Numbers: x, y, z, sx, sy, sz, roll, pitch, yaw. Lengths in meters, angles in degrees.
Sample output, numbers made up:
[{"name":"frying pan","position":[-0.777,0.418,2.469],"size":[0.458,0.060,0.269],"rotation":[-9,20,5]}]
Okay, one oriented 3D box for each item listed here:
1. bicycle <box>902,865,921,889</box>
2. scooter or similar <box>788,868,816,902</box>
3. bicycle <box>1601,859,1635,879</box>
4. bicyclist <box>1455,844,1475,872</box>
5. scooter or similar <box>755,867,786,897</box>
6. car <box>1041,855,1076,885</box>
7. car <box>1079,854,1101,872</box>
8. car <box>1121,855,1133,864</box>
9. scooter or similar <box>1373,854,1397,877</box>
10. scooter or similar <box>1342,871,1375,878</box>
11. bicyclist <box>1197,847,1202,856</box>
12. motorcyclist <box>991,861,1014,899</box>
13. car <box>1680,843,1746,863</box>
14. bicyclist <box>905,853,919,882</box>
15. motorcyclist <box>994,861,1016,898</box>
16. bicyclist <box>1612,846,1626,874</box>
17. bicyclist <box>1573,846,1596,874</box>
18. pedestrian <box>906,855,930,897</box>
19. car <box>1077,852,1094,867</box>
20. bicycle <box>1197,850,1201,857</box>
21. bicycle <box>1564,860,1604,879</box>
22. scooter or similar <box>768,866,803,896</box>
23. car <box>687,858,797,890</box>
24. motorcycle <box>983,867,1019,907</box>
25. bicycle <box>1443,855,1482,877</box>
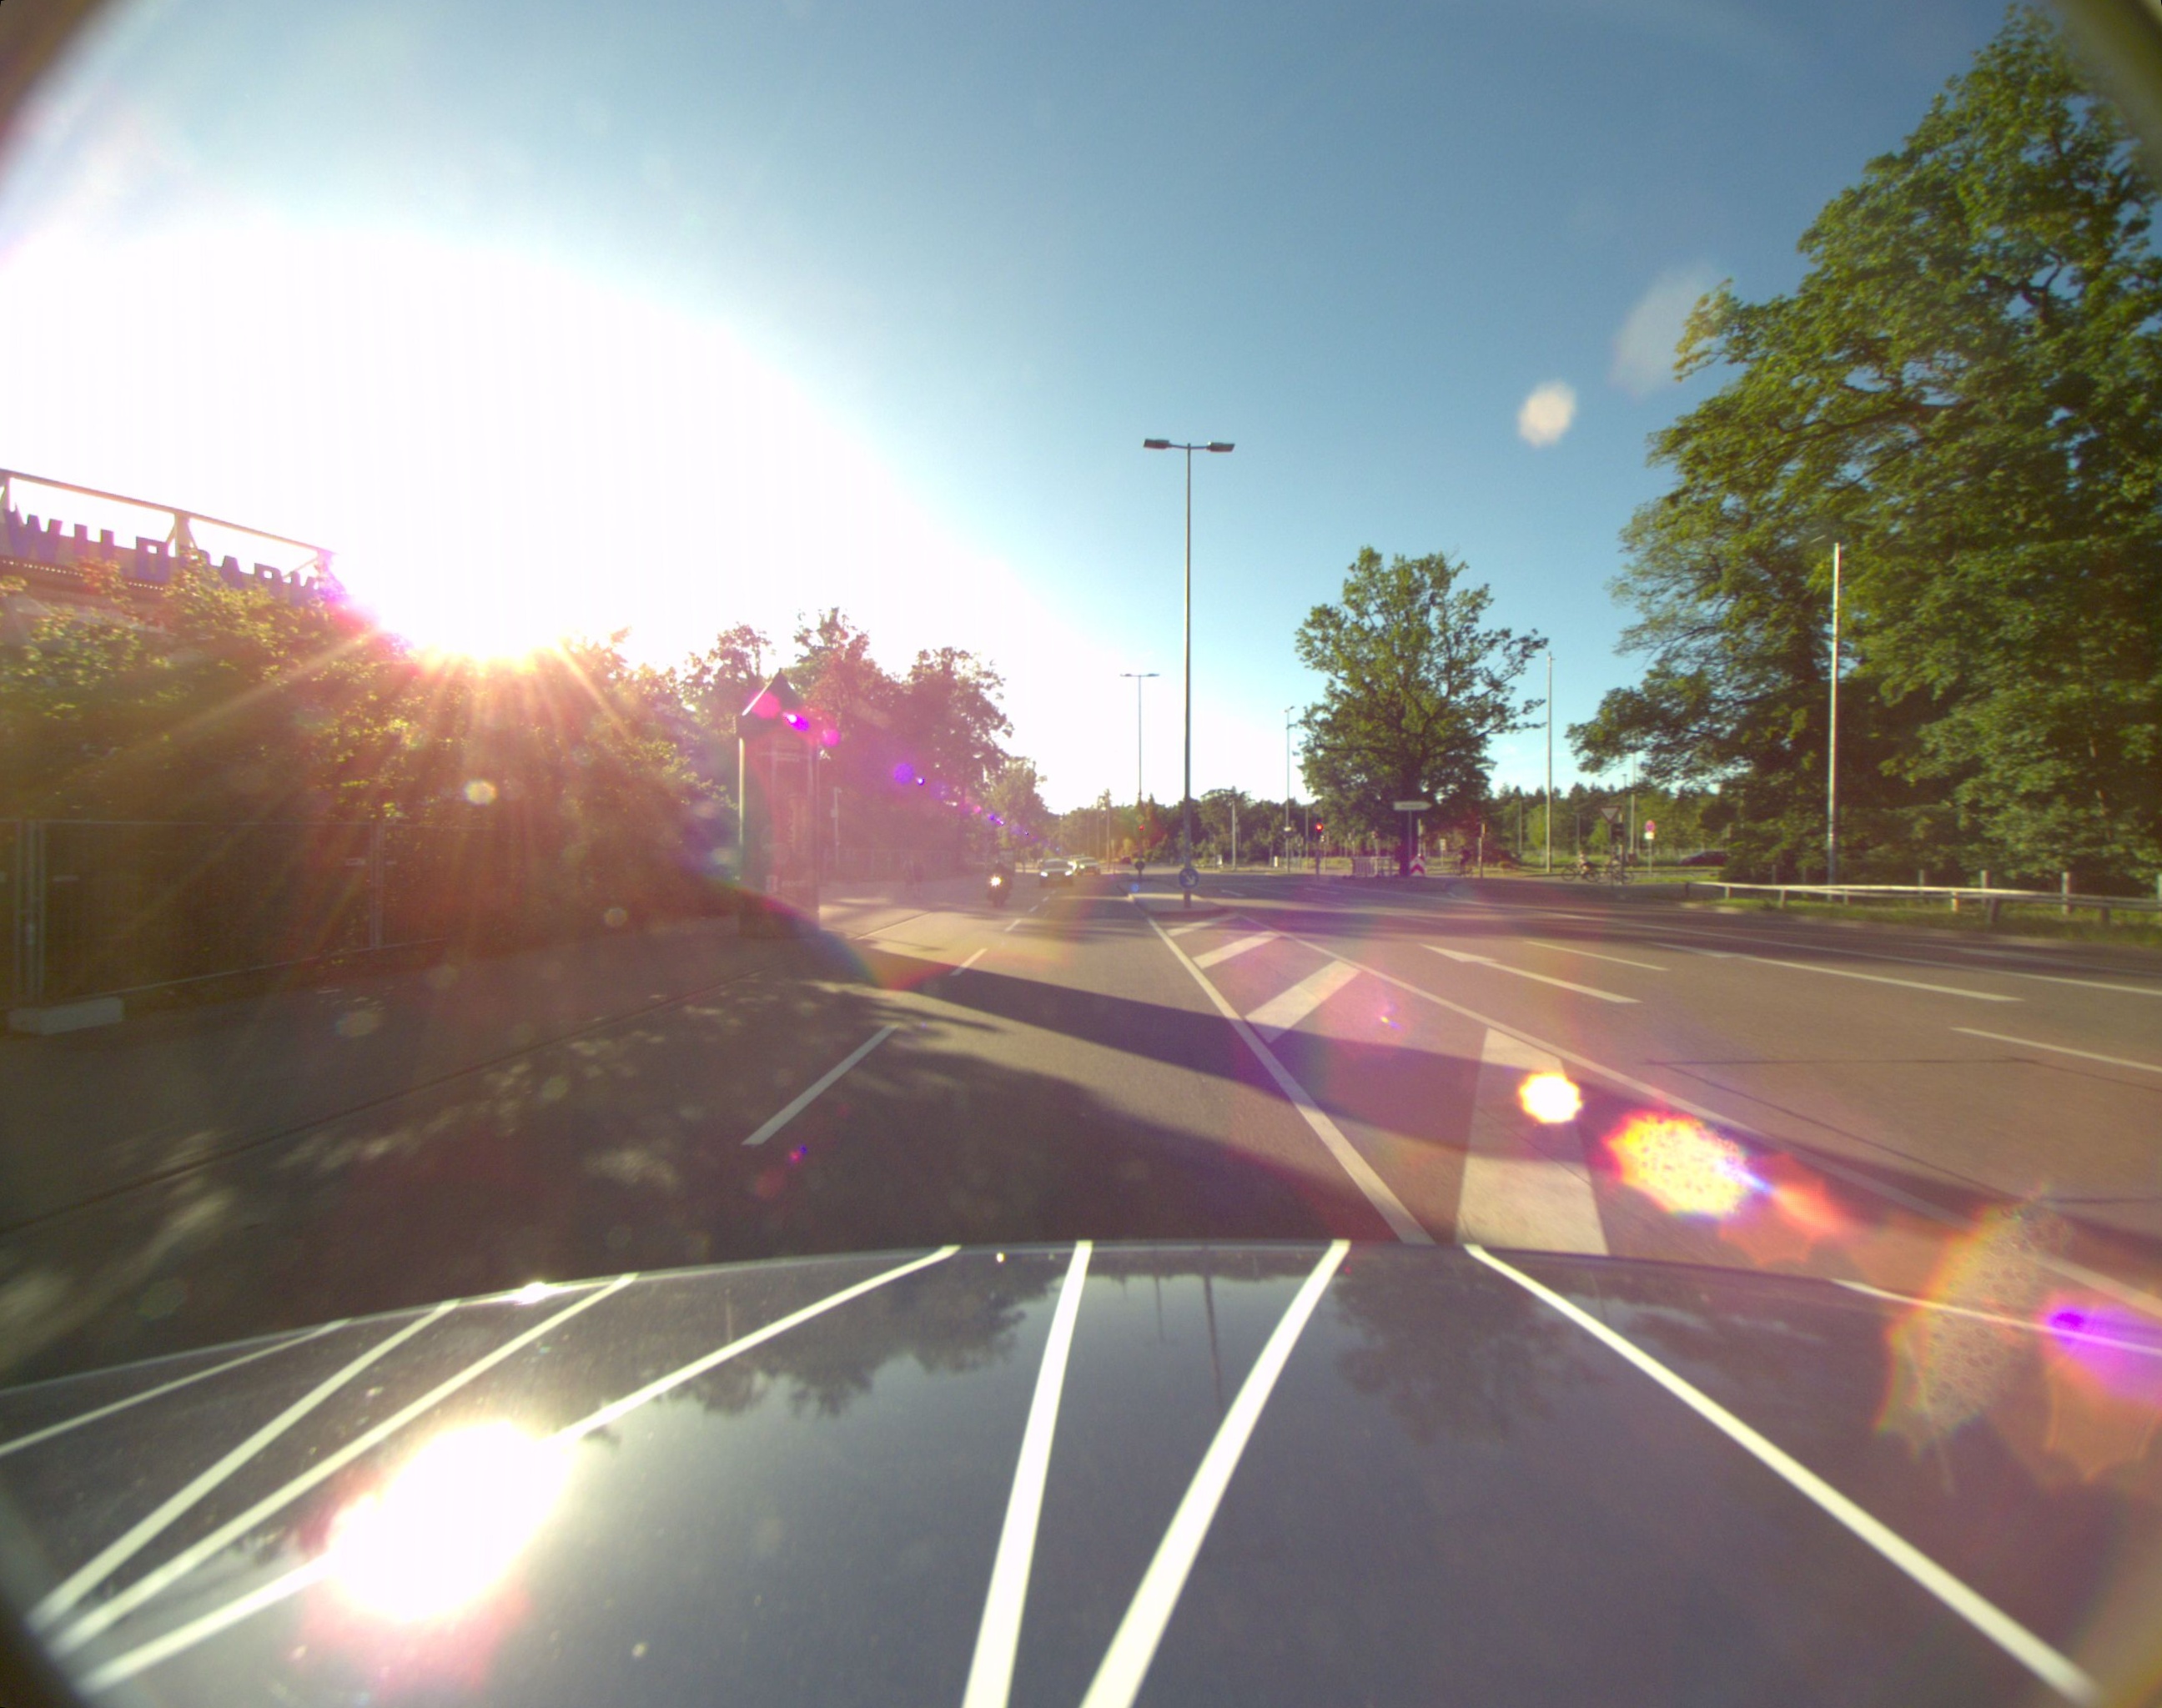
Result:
[{"name":"bicycle","position":[-8.476,1.138,38.091],"size":[0.555,1.130,1.864],"rotation":[0,0,-1]},{"name":"scooter or similar","position":[-9.933,1.092,27.114],"size":[0.281,1.164,1.410],"rotation":[1,0,9]},{"name":"bicycle","position":[27.003,0.763,38.189],"size":[1.351,0.971,0.523],"rotation":[-2,1,38]},{"name":"bicyclist","position":[21.223,0.235,41.991],"size":[0.564,1.542,0.799],"rotation":[-1,-2,-18]},{"name":"scooter or similar","position":[-12.250,1.098,29.982],"size":[1.245,1.160,0.395],"rotation":[1,2,25]},{"name":"car","position":[-1.300,0.872,43.297],"size":[1.867,1.538,4.795],"rotation":[-2,0,-2]},{"name":"car","position":[0.825,0.784,70.001],"size":[1.838,1.504,4.300],"rotation":[-2,0,-1]},{"name":"car","position":[9.123,1.058,151.245],"size":[1.891,1.544,4.571],"rotation":[-2,0,-3]},{"name":"scooter or similar","position":[15.543,0.596,38.819],"size":[1.069,1.140,0.394],"rotation":[-1,0,8]},{"name":"scooter or similar","position":[14.771,1.097,40.521],"size":[1.410,0.337,1.261],"rotation":[-1,-1,8]},{"name":"bicyclist","position":[20.320,-0.460,130.511],"size":[0.682,1.602,0.800],"rotation":[-2,1,7]},{"name":"motorcyclist","position":[-2.657,0.883,25.889],"size":[0.671,1.257,0.825],"rotation":[-2,1,-1]},{"name":"car","position":[53.344,-0.069,64.204],"size":[3.992,1.501,1.658],"rotation":[-2,1,15]},{"name":"bicyclist","position":[-8.480,0.677,38.104],"size":[0.522,1.460,0.861],"rotation":[0,1,-1]},{"name":"motorcyclist","position":[-2.674,0.894,26.767],"size":[0.671,1.257,0.825],"rotation":[-2,1,-1]},{"name":"bicyclist","position":[27.019,0.288,38.156],"size":[0.528,1.392,0.520],"rotation":[-1,1,38]},{"name":"bicyclist","position":[26.852,0.338,40.494],"size":[0.731,1.474,0.798],"rotation":[-3,1,-39]},{"name":"pedestrian","position":[-6.806,0.900,31.688],"size":[0.627,1.678,0.883],"rotation":[-2,1,9]},{"name":"car","position":[0.422,0.533,78.899],"size":[1.661,1.418,4.317],"rotation":[-2,0,-1]},{"name":"bicycle","position":[20.305,-0.059,130.557],"size":[0.494,1.230,1.795],"rotation":[-2,1,6]},{"name":"bicycle","position":[26.833,0.824,40.546],"size":[0.786,0.971,1.586],"rotation":[-3,1,-39]},{"name":"scooter or similar","position":[-11.884,1.090,30.583],"size":[1.268,1.140,0.394],"rotation":[1,2,7]},{"name":"car","position":[-15.899,0.910,35.736],"size":[4.380,1.370,1.821],"rotation":[1,1,8]},{"name":"motorcycle","position":[-2.717,1.106,26.141],"size":[0.916,1.243,2.962],"rotation":[-1,0,-1]},{"name":"bicycle","position":[21.167,0.671,42.185],"size":[0.682,1.147,1.982],"rotation":[-1,-1,-18]}]
